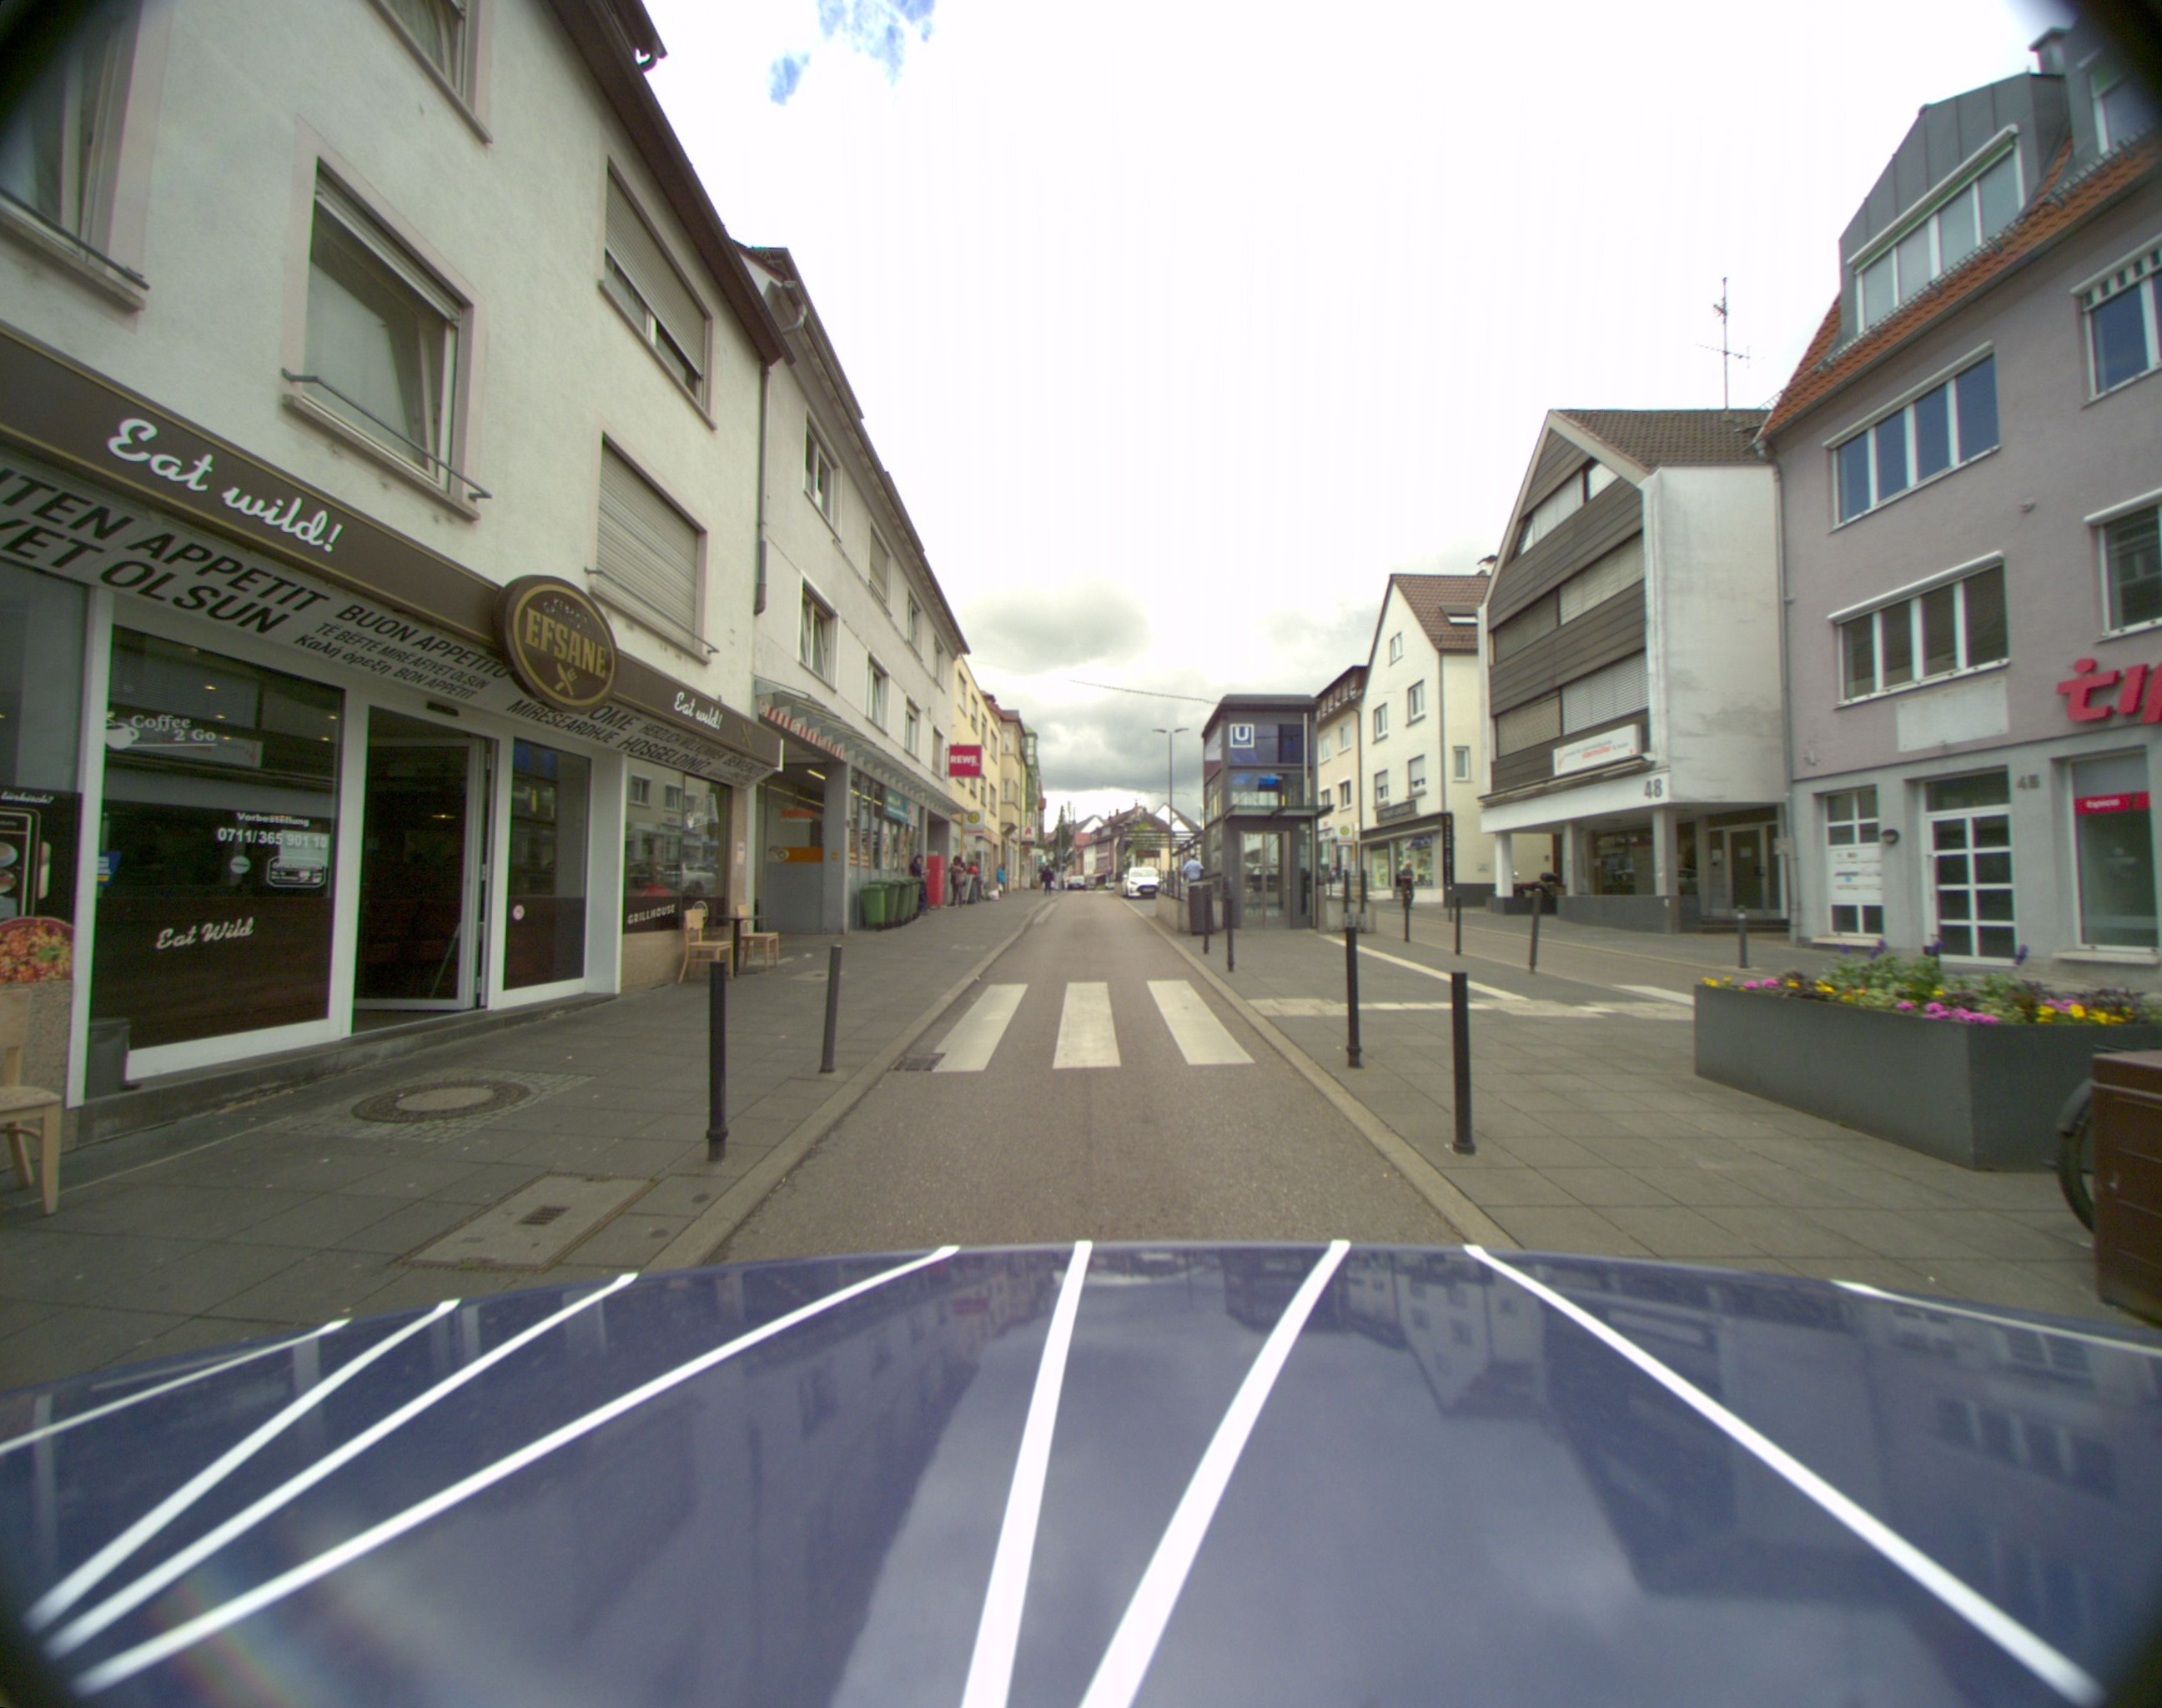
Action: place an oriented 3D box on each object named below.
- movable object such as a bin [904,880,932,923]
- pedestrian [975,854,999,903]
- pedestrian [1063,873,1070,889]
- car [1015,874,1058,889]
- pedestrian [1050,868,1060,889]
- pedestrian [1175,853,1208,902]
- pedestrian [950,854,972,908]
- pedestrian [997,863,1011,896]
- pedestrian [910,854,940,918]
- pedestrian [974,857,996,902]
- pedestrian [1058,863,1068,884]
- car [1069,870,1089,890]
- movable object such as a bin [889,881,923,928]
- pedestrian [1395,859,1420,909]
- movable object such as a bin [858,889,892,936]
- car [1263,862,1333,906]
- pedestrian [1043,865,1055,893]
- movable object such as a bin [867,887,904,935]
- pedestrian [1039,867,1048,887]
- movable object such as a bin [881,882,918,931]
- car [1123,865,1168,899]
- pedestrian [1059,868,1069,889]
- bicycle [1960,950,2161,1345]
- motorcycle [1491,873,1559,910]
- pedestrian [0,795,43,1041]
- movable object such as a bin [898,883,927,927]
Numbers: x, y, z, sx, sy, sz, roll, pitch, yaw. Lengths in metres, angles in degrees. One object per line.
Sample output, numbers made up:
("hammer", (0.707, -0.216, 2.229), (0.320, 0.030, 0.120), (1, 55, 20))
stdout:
("movable object such as a bin", (-4.099, 1.199, 19.146), (0.560, 1.050, 0.559), (0, 0, 1))
("pedestrian", (-3.579, 0.930, 28.939), (0.629, 1.811, 0.605), (-3, 1, -34))
("pedestrian", (-1.577, 2.812, 80.196), (0.657, 1.620, 0.743), (-2, 1, -2))
("car", (-5.106, 3.166, 87.483), (4.631, 1.570, 1.775), (-1, 0, -24))
("pedestrian", (-2.089, 1.931, 60.397), (0.657, 1.620, 0.743), (-2, 1, -6))
("pedestrian", (4.331, 0.912, 29.887), (1.097, 1.831, 0.931), (-2, 1, 1))
("pedestrian", (-3.924, 0.868, 24.895), (0.627, 1.716, 0.607), (2, 0, -5))
("pedestrian", (-3.896, 1.292, 38.599), (0.627, 1.620, 0.607), (-2, 1, -5))
("pedestrian", (-4.272, 0.865, 20.789), (0.628, 1.716, 0.606), (-2, 1, -22))
("pedestrian", (-3.762, 0.992, 29.677), (0.608, 1.716, 0.626), (-2, 1, -29))
("pedestrian", (-1.361, 1.520, 58.855), (0.657, 1.620, 0.743), (-2, 1, -6))
("car", (-0.175, 2.288, 68.447), (1.741, 1.608, 3.843), (-2, 0, 0))
("movable object such as a bin", (-4.117, 1.173, 17.918), (0.652, 1.074, 0.659), (0, 0, 1))
("pedestrian", (11.418, 1.058, 26.578), (0.592, 1.706, 0.513), (-2, 1, 1))
("movable object such as a bin", (-4.314, 1.217, 15.934), (0.568, 0.951, 0.498), (0, 0, 1))
("car", (8.840, 1.185, 31.278), (1.683, 1.562, 4.122), (-2, 0, 0))
("pedestrian", (-1.903, 1.455, 45.183), (0.657, 1.620, 0.743), (-2, 1, -1))
("movable object such as a bin", (-4.243, 1.230, 16.522), (0.670, 1.024, 0.560), (0, 0, 1))
("pedestrian", (-3.169, 1.962, 64.709), (0.657, 1.620, 0.743), (-2, 1, -1))
("movable object such as a bin", (-4.104, 1.173, 17.203), (0.652, 1.074, 0.673), (0, 0, 1))
("car", (2.966, 1.282, 35.578), (1.754, 1.452, 3.602), (-2, -2, 0))
("pedestrian", (-1.375, 1.917, 60.479), (0.657, 1.620, 0.743), (-2, 1, -6))
("bicycle", (4.256, 0.975, 2.673), (1.782, 1.216, 0.459), (0, 1, 0))
("motorcycle", (14.585, 1.232, 24.981), (1.854, 1.134, 0.634), (-2, 1, 0))
("pedestrian", (-7.851, 0.451, 5.198), (0.628, 1.715, 0.606), (-1, 0, -22))
("movable object such as a bin", (-4.119, 1.239, 18.562), (0.569, 1.053, 0.574), (0, 0, 1))
